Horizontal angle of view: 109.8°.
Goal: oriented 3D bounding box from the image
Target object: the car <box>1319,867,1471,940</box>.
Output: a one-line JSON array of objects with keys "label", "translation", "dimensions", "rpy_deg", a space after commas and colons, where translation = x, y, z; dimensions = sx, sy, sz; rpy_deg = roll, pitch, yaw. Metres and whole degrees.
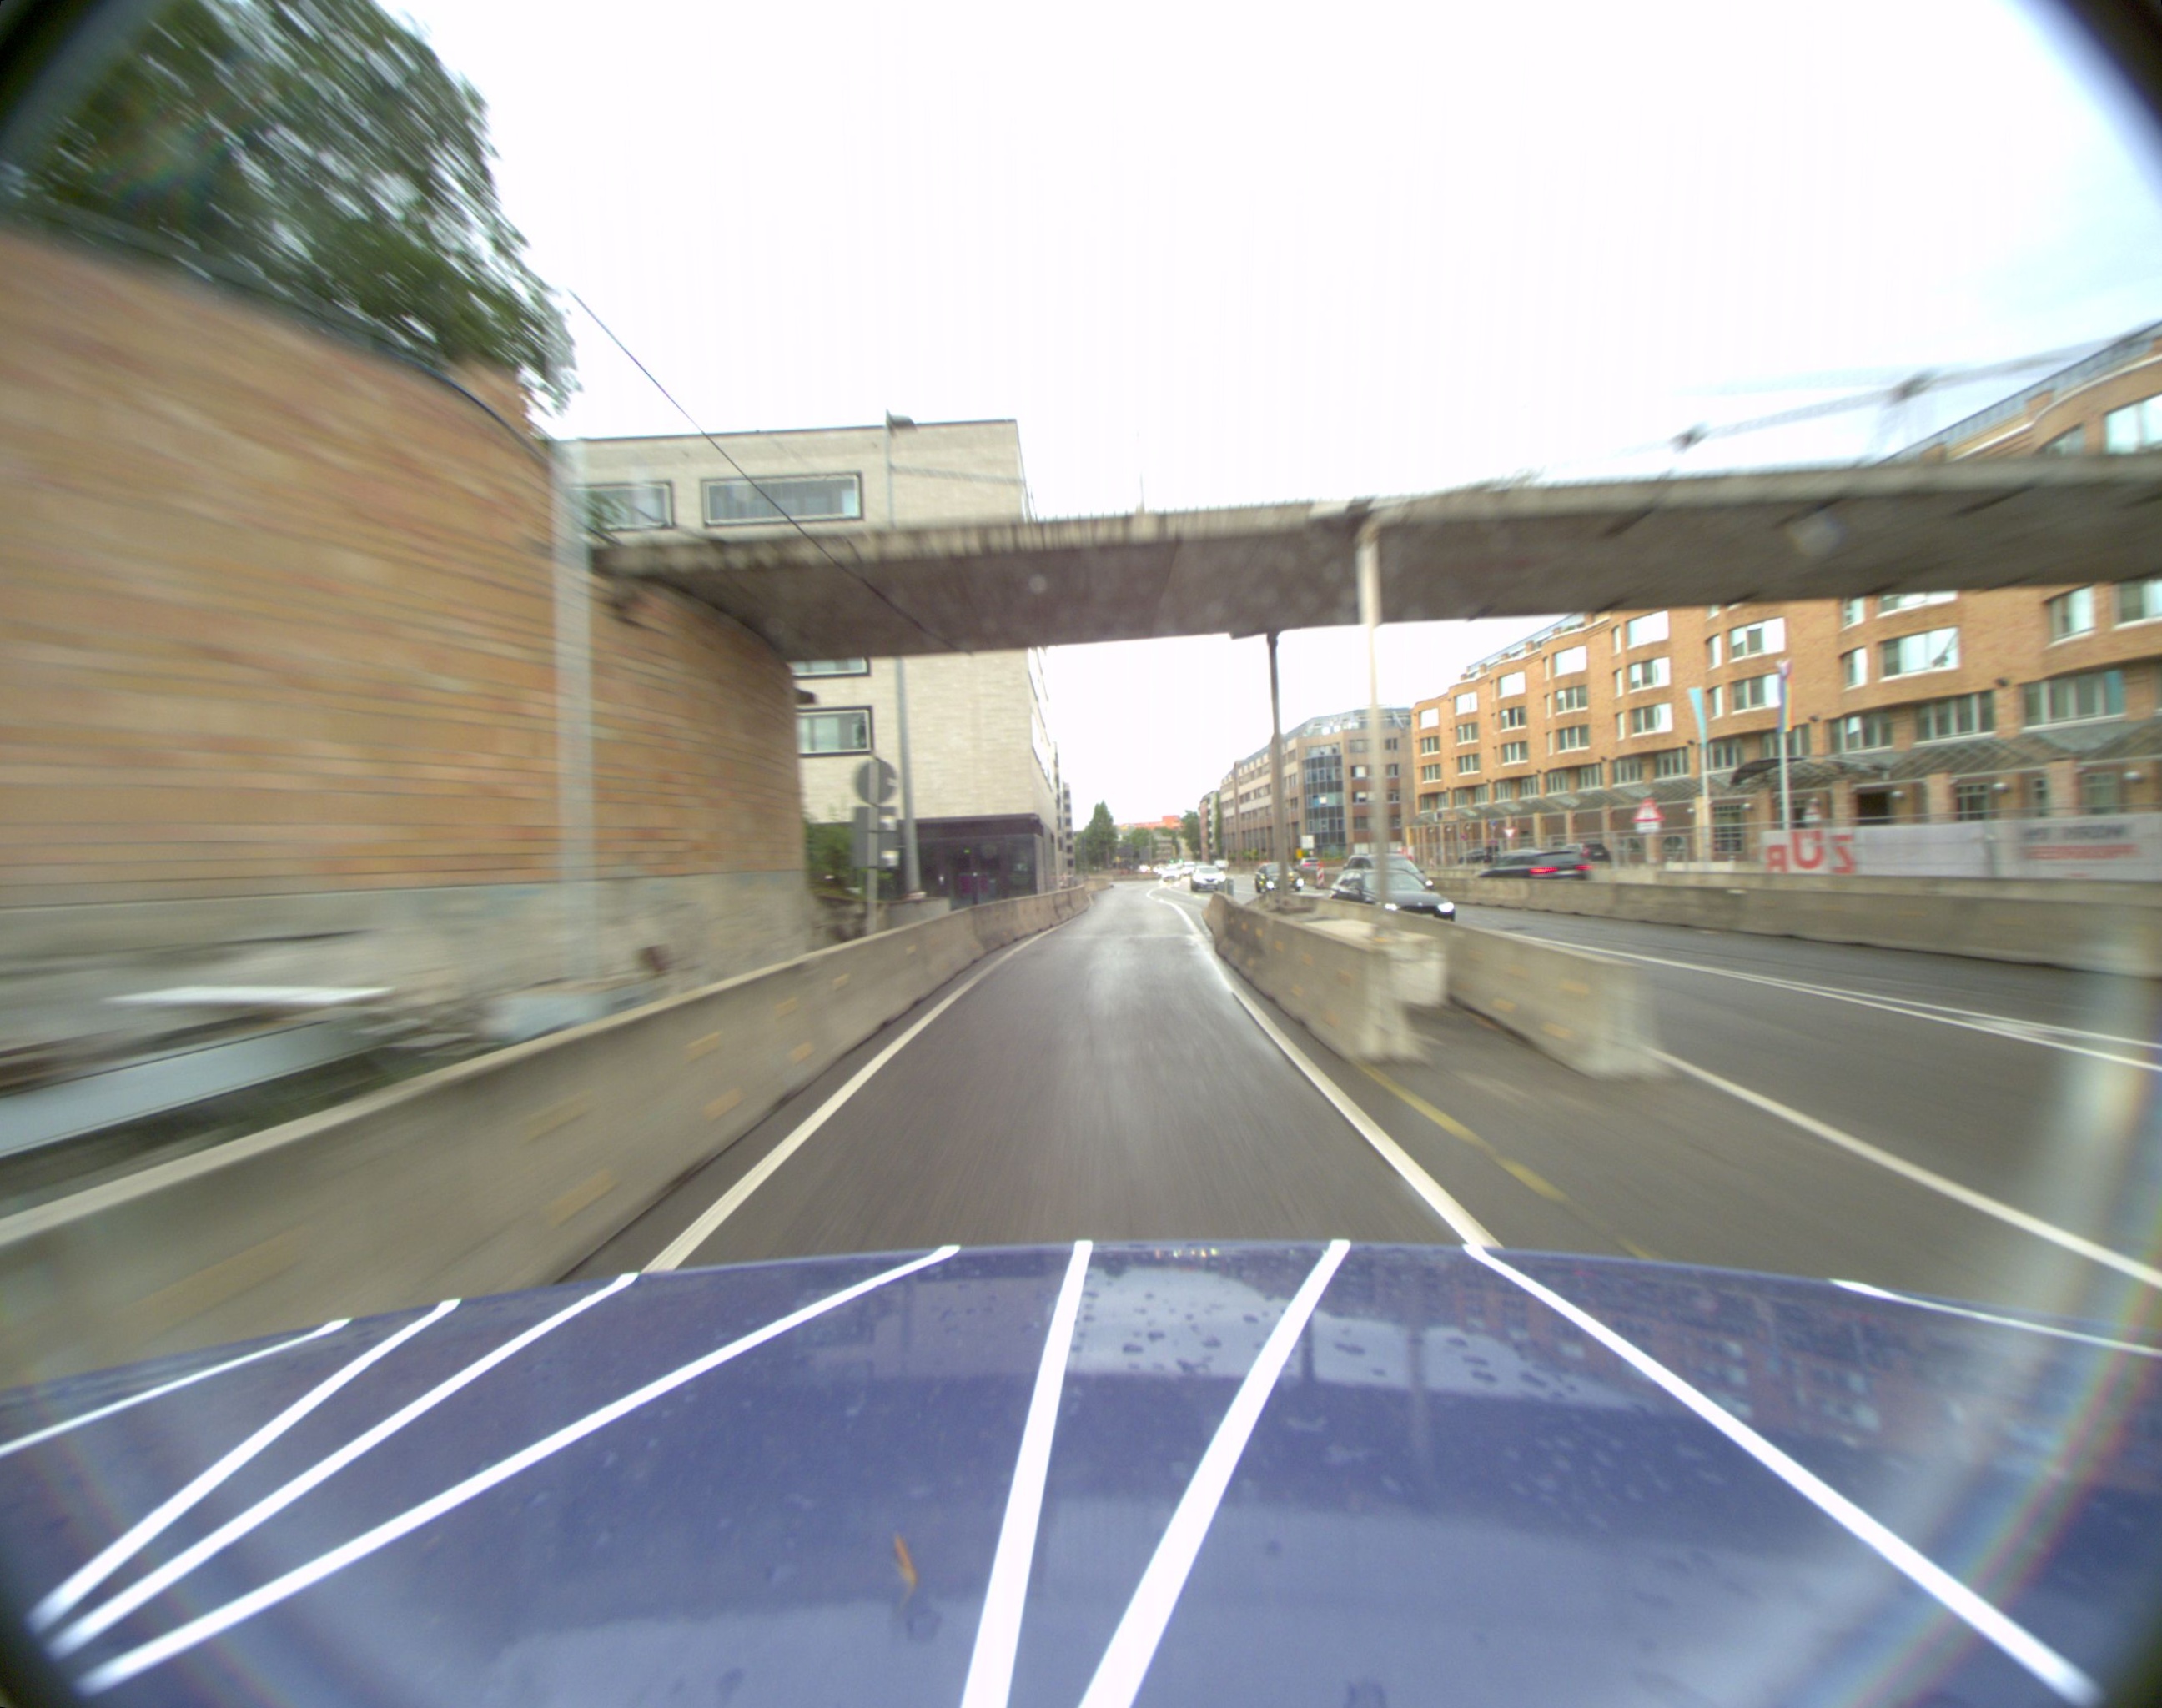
[{"label": "car", "translation": [7.362, 1.083, 18.384], "dimensions": [1.772, 1.435, 4.657], "rpy_deg": [-3, -1, 1]}]

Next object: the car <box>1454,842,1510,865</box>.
[{"label": "car", "translation": [34.644, -0.003, 65.774], "dimensions": [1.999, 1.875, 5.014], "rpy_deg": [-3, -1, -1]}]

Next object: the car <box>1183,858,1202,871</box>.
[{"label": "car", "translation": [14.734, 1.375, 100.627], "dimensions": [1.772, 1.524, 4.657], "rpy_deg": [-3, -1, 0]}]

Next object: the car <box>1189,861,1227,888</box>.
[{"label": "car", "translation": [7.928, 1.263, 47.840], "dimensions": [1.772, 1.524, 4.657], "rpy_deg": [-3, -1, 2]}]

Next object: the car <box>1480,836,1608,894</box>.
[{"label": "car", "translation": [14.494, 0.377, 24.070], "dimensions": [1.810, 1.613, 3.905], "rpy_deg": [-2, -2, 4]}]

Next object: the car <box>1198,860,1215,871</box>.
[{"label": "car", "translation": [18.879, 1.714, 114.545], "dimensions": [1.772, 1.524, 4.657], "rpy_deg": [-3, -1, 0]}]

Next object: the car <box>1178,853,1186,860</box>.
[{"label": "car", "translation": [26.185, 0.601, 197.041], "dimensions": [1.890, 1.772, 4.879], "rpy_deg": [-3, -1, 4]}]

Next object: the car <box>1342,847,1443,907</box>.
[{"label": "car", "translation": [10.515, 0.732, 25.984], "dimensions": [1.798, 1.789, 4.252], "rpy_deg": [-3, -1, 3]}]

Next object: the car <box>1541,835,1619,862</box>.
[{"label": "car", "translation": [34.815, -0.352, 53.204], "dimensions": [1.999, 1.680, 5.050], "rpy_deg": [-3, -1, -1]}]

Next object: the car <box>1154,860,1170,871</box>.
[{"label": "car", "translation": [11.729, 1.665, 110.164], "dimensions": [1.772, 1.524, 4.657], "rpy_deg": [-3, -1, 0]}]

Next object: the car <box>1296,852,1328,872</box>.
[{"label": "car", "translation": [20.561, 0.740, 67.728], "dimensions": [1.997, 1.613, 4.706], "rpy_deg": [-2, -1, 9]}]

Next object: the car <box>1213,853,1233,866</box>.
[{"label": "car", "translation": [22.550, 0.868, 121.035], "dimensions": [1.999, 1.874, 4.869], "rpy_deg": [-3, -1, -2]}]

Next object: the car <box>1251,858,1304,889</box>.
[{"label": "car", "translation": [10.569, 1.042, 41.192], "dimensions": [1.772, 1.524, 4.357], "rpy_deg": [-3, -1, 1]}]

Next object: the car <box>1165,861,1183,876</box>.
[{"label": "car", "translation": [10.052, 1.559, 81.924], "dimensions": [1.771, 1.524, 4.659], "rpy_deg": [-3, -1, 8]}]
